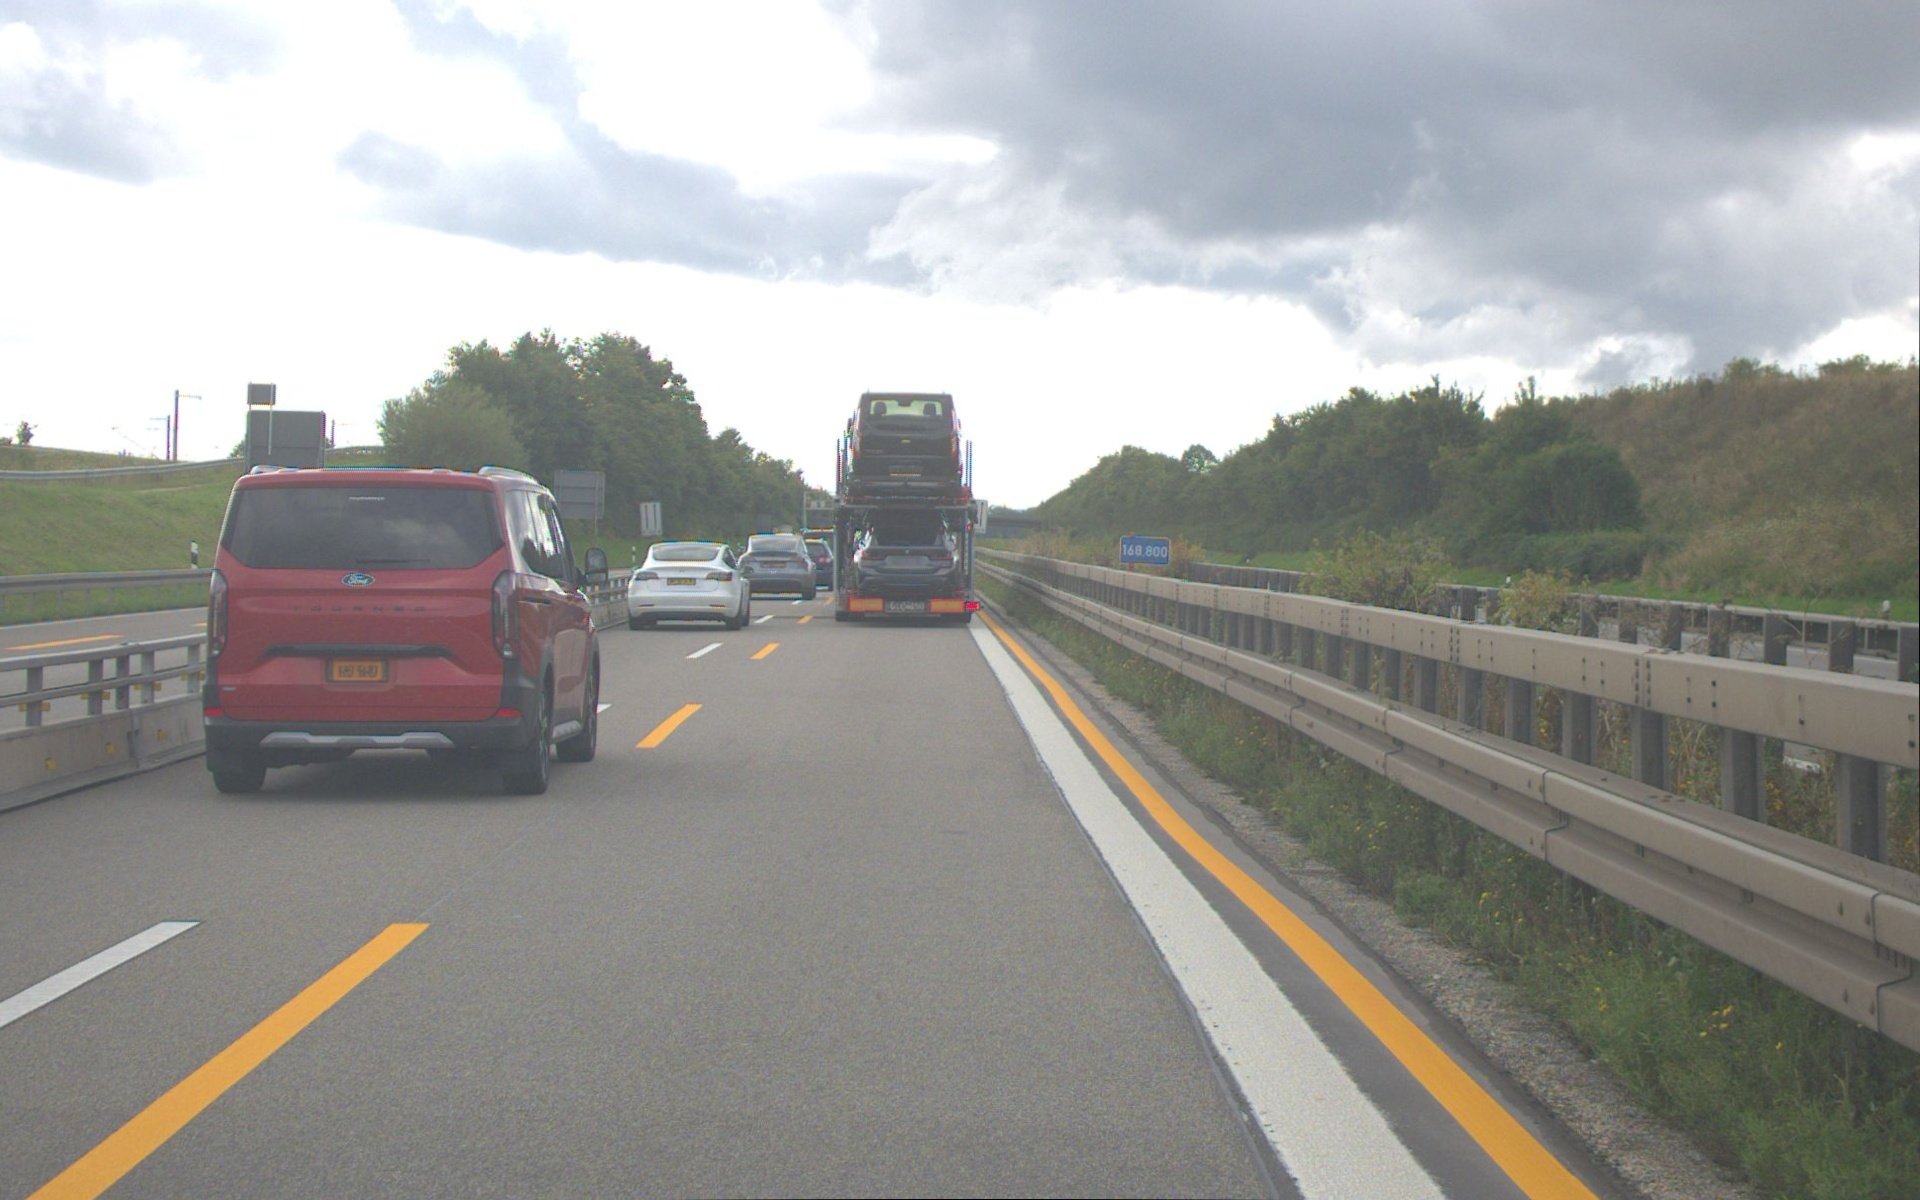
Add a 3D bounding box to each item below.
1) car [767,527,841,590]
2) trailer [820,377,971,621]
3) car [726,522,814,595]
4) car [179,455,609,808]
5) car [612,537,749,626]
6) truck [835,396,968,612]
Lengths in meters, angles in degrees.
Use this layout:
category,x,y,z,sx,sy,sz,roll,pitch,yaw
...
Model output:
category,x,y,z,sx,sy,sz,roll,pitch,yaw
car,-4.456,-1.201,98.587,2.031,1.751,4.578,0,1,-2
trailer,-1.108,-1.800,63.502,2.515,4.091,11.114,0,1,0
car,-4.701,-1.049,85.540,2.031,1.751,4.578,0,1,-1
car,-3.449,0.139,21.828,2.031,2.007,4.578,0,1,-1
car,-4.629,-0.346,57.460,2.031,1.426,4.578,0,1,-1
truck,-1.123,-1.885,68.451,2.515,4.091,5.685,0,1,0
